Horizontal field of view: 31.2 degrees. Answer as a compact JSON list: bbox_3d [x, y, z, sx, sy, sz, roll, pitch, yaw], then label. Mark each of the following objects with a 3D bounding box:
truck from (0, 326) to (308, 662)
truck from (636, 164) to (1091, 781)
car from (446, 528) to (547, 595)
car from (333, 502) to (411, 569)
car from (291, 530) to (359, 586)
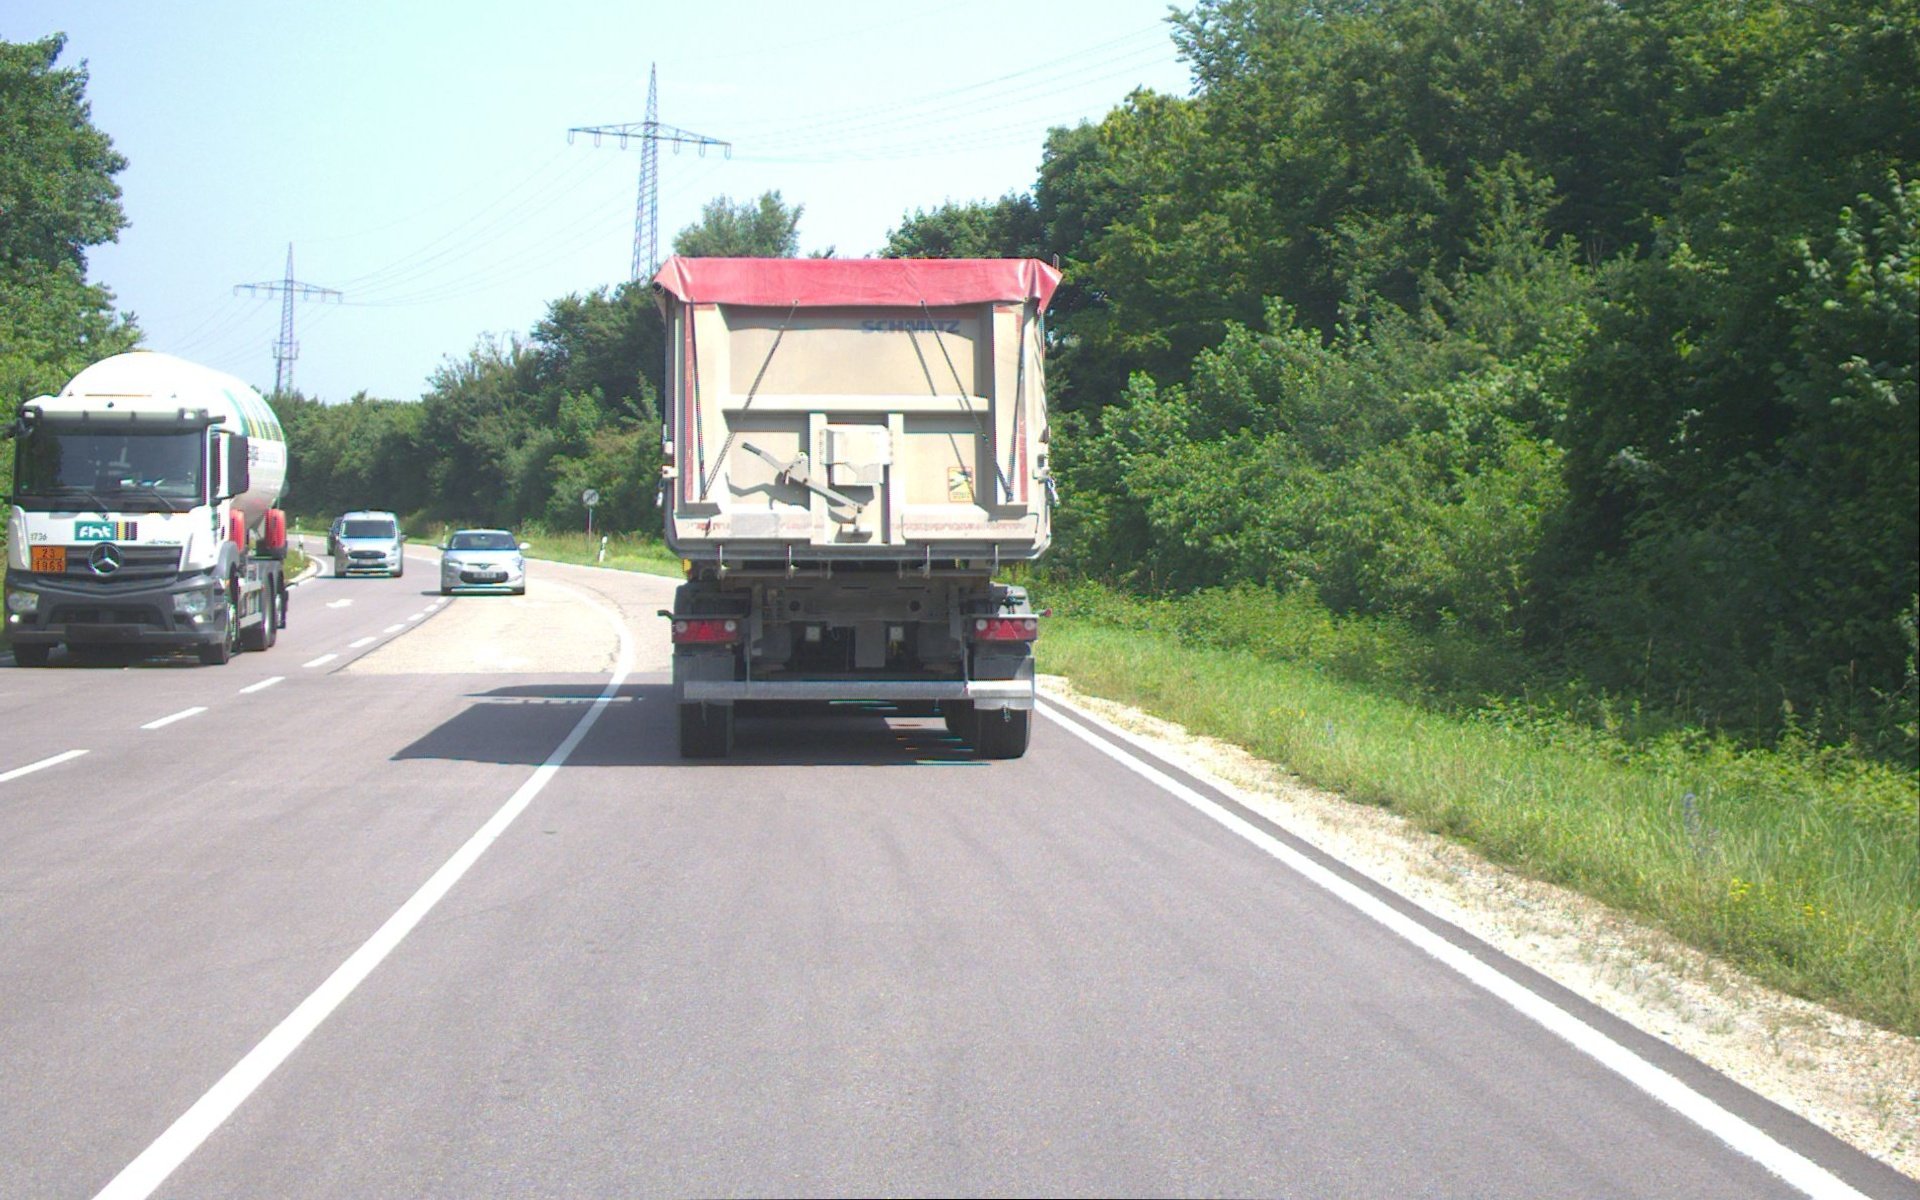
[{"bbox_3d":[-9.764,-1.230,42.032,2.626,3.658,8.798,0,1,-5],"label":"truck"},{"bbox_3d":[-1.056,-0.977,28.119,2.893,3.949,11.935,0,2,-4],"label":"truck"},{"bbox_3d":[-10.121,-0.831,75.276,1.708,1.414,4.098,0,0,-1],"label":"car"},{"bbox_3d":[-16.214,-1.766,94.920,1.842,1.773,4.894,0,0,-7],"label":"car"},{"bbox_3d":[-20.886,-1.370,113.227,1.842,1.773,4.894,0,0,-7],"label":"car"}]
